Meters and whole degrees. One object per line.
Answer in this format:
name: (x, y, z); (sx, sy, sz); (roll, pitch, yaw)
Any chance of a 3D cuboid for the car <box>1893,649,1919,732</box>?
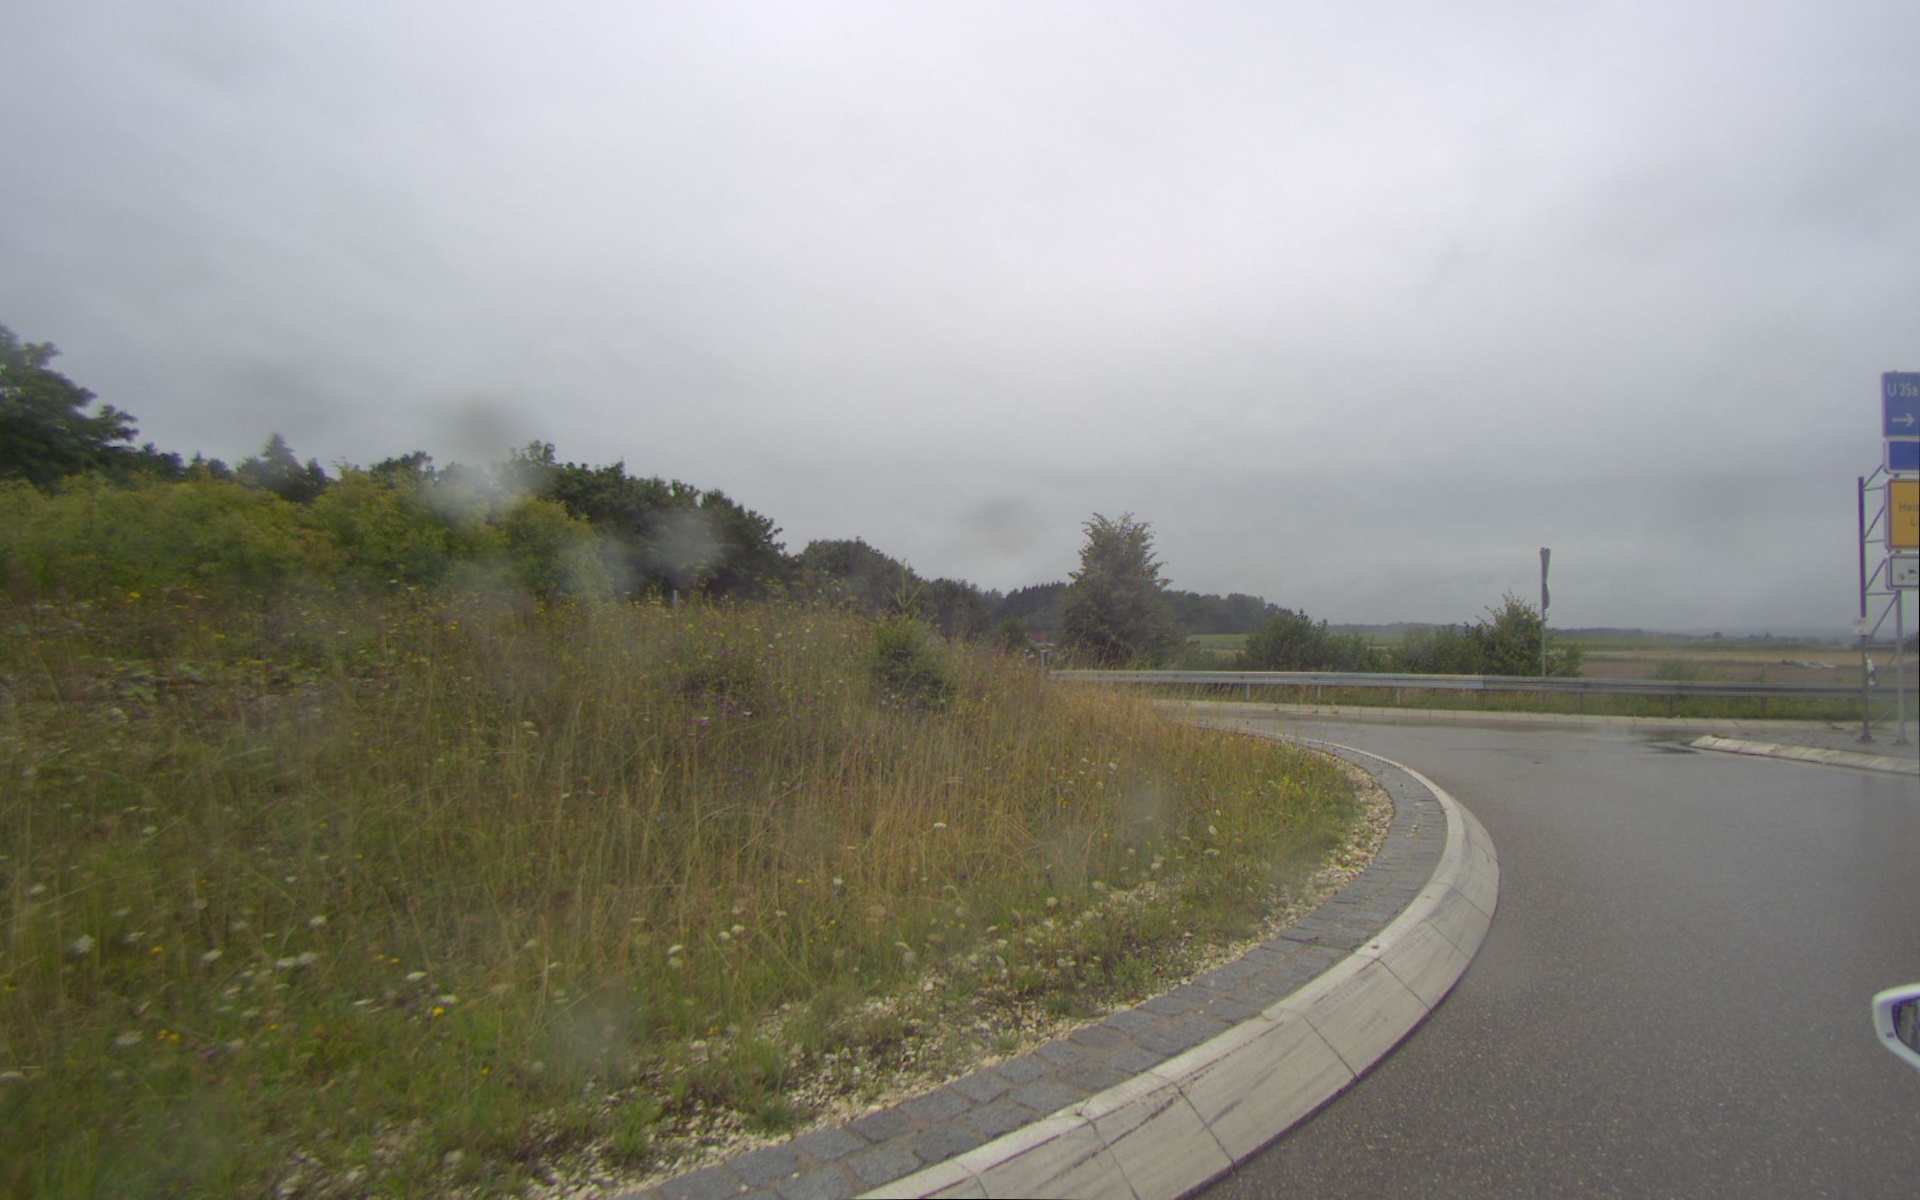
car: (20.487, 1.775, 19.015); (3.920, 1.596, 1.807); (1, -1, 2)
